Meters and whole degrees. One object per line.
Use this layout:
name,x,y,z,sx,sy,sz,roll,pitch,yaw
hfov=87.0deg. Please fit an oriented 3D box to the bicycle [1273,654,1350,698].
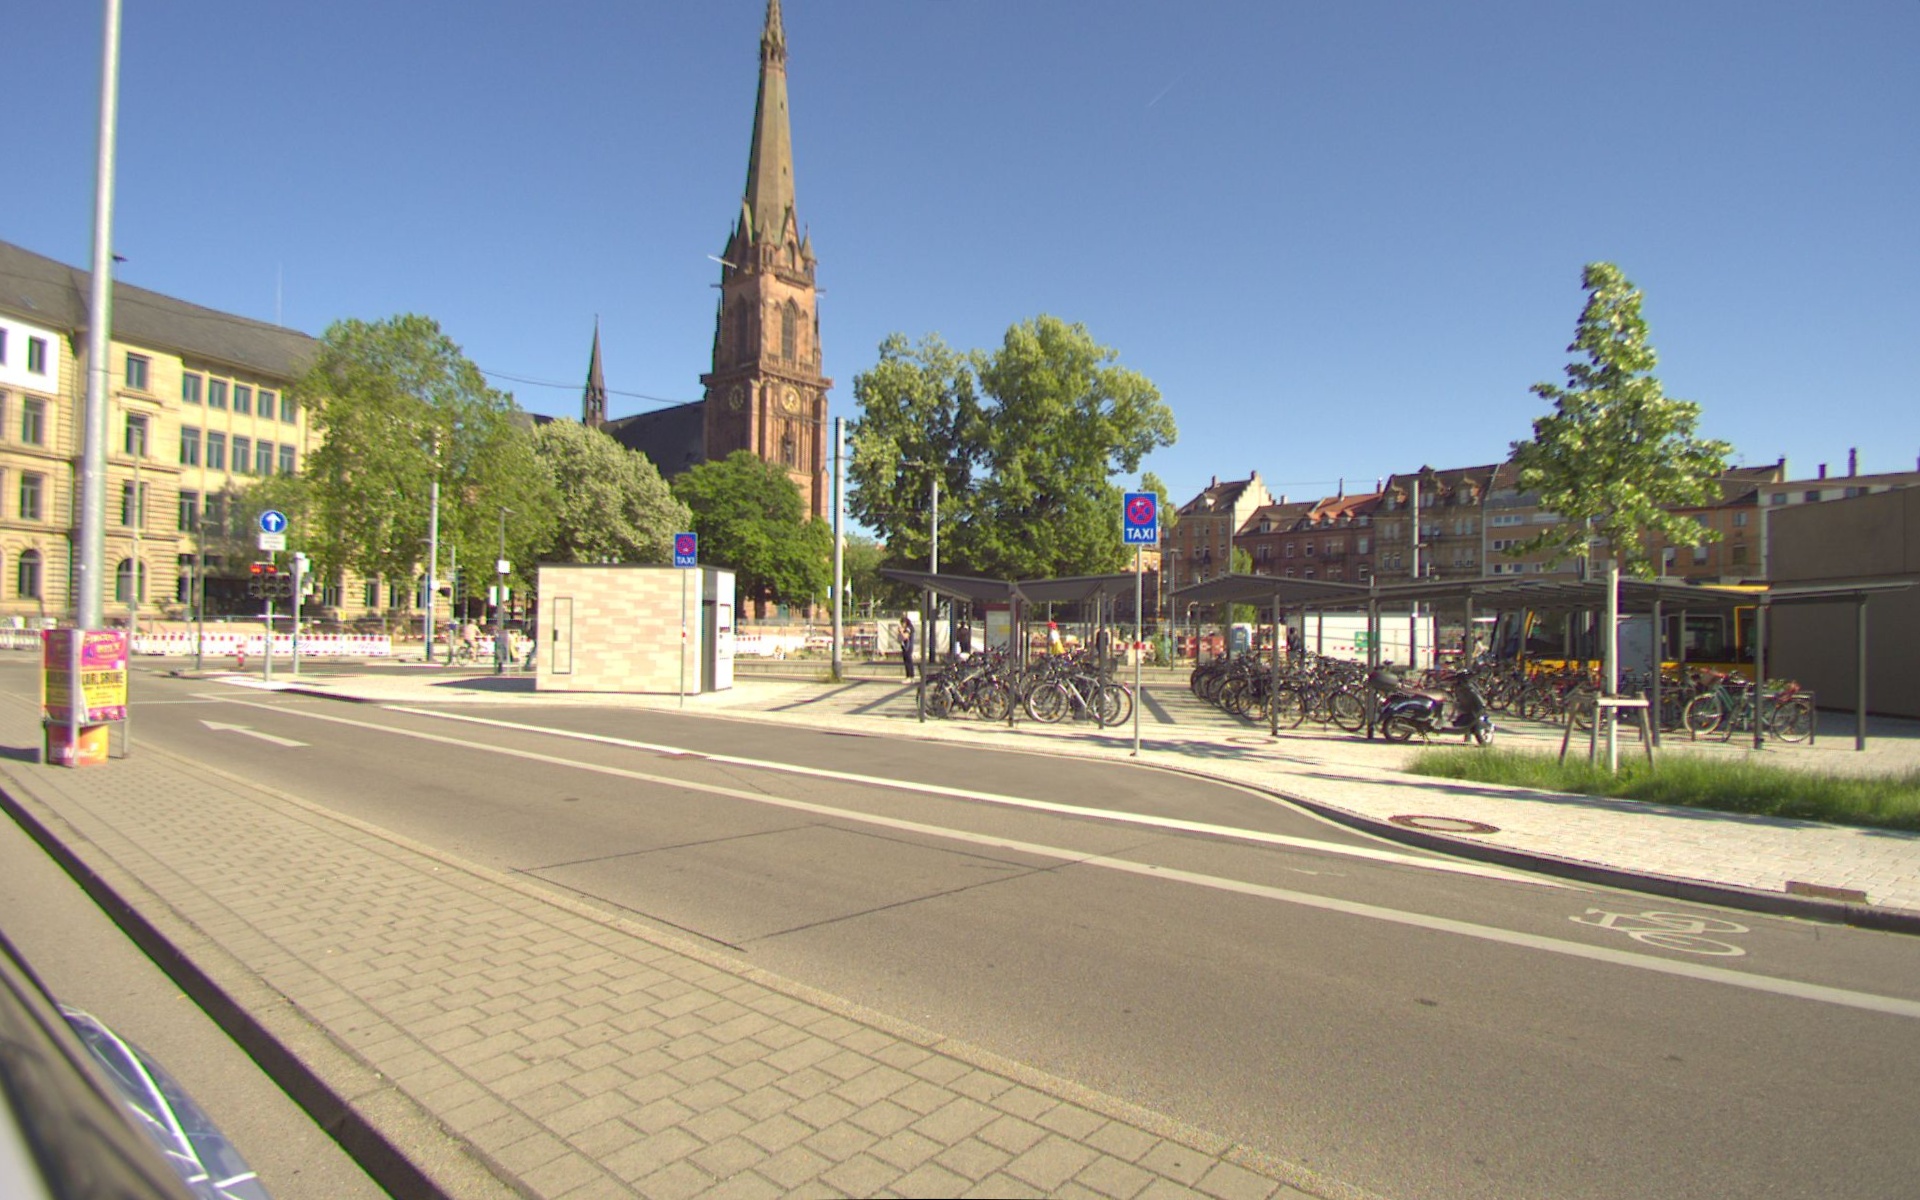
bicycle,8.294,1.790,23.919,1.661,0.980,0.406,-1,0,3

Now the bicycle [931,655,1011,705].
bicycle,0.232,1.680,21.409,1.663,1.006,0.406,0,0,8

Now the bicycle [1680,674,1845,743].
bicycle,12.770,1.719,16.142,2.048,1.045,0.533,-1,0,8

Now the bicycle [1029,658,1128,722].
bicycle,2.142,1.621,18.341,1.753,1.083,0.406,1,0,6

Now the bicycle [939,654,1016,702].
bicycle,0.387,1.709,22.289,1.663,1.006,0.406,0,0,8

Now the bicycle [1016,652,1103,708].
bicycle,2.055,1.647,20.977,1.755,1.083,0.406,1,0,6

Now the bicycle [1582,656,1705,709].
bicycle,14.081,1.701,20.881,2.048,1.045,0.533,-1,0,8

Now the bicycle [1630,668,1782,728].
bicycle,13.482,1.768,18.334,2.117,1.005,0.690,-1,0,7

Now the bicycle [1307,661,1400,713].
bicycle,7.860,1.735,20.233,1.661,0.980,0.406,-1,0,3

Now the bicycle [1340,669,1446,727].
bicycle,7.646,1.729,17.896,1.661,0.980,0.406,-1,0,3

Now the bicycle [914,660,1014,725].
bicycle,0.070,1.578,17.387,1.663,1.006,0.406,2,0,8

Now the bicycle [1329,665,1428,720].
bicycle,7.845,1.735,19.017,1.661,0.980,0.406,-1,0,3

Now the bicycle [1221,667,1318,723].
bicycle,5.731,1.754,18.772,1.661,0.980,0.406,-1,0,3

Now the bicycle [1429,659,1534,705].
bicycle,12.034,1.884,23.378,2.048,1.045,0.533,-1,-4,8

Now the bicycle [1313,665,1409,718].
bicycle,7.719,1.767,19.533,1.661,0.980,0.406,-1,0,3

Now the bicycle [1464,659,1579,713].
bicycle,11.779,1.800,21.269,2.048,1.045,0.533,-1,2,8

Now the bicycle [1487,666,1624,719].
bicycle,11.617,1.803,19.794,2.208,0.951,0.685,-1,0,7

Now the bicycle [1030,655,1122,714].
bicycle,2.238,1.625,19.587,1.755,1.083,0.406,1,0,6

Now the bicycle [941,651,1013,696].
bicycle,0.396,1.706,23.667,1.663,1.006,0.406,0,0,8

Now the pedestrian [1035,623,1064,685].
pedestrian,2.410,1.449,27.316,0.692,1.635,0.621,1,-2,-4

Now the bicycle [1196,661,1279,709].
bicycle,5.928,1.810,21.644,1.661,0.980,0.406,1,-5,3

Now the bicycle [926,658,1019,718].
bicycle,0.234,1.601,18.606,1.663,1.006,0.406,2,0,8

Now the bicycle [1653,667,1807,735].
bicycle,12.991,1.701,17.120,2.030,1.087,0.604,-1,0,7

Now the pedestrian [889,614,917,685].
pedestrian,-1.519,1.316,27.032,0.692,1.873,0.620,1,-2,-1

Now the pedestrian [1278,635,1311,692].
pedestrian,11.437,2.155,34.651,0.757,1.931,0.805,1,-2,-11

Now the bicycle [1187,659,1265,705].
bicycle,6.056,1.864,23.055,1.661,0.980,0.406,1,-5,3

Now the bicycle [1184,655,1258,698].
bicycle,6.259,1.841,24.316,1.661,0.980,0.406,1,-5,3

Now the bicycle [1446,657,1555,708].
bicycle,11.869,1.806,22.260,2.048,1.045,0.533,-1,2,8

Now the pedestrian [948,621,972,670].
pedestrian,-0.013,1.740,39.065,0.610,1.874,0.703,2,-2,-39

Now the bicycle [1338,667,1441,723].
bicycle,7.826,1.727,18.464,1.661,0.980,0.406,-1,0,3

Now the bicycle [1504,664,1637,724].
bicycle,11.325,1.738,18.816,2.048,1.045,0.533,-1,0,8

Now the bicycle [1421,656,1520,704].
bicycle,12.303,1.924,24.433,2.048,1.045,0.533,1,3,8

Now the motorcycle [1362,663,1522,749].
motorcycle,7.196,1.575,15.164,2.059,1.228,0.569,-1,-2,3

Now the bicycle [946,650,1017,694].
bicycle,0.520,1.706,24.192,1.663,1.006,0.406,0,0,8

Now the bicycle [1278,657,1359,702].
bicycle,8.076,1.793,22.842,1.661,0.980,0.406,-1,0,3

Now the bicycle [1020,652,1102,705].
bicycle,2.196,1.699,22.033,1.755,1.083,0.406,1,0,6

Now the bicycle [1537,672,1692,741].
bicycle,10.575,1.716,16.393,2.048,1.045,0.533,-1,0,8

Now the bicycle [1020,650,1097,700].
bicycle,2.275,1.736,23.503,1.755,1.083,0.406,1,0,6

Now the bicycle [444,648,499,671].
bicycle,-18.578,2.256,38.563,0.734,0.788,2.043,0,-2,14

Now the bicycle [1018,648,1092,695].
bicycle,2.317,1.728,24.682,1.755,1.083,0.406,1,0,6

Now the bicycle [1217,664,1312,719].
bicycle,5.817,1.742,19.380,1.661,0.980,0.406,1,0,3

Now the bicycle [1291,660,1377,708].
bicycle,7.991,1.794,21.627,1.661,0.980,0.406,-1,0,3

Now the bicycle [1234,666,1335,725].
bicycle,5.818,1.714,18.193,1.661,0.980,0.406,1,0,3

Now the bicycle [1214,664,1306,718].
bicycle,5.904,1.785,19.963,1.661,0.980,0.406,1,0,3

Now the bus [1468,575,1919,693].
bus,22.044,0.939,28.640,13.462,3.095,2.859,0,-2,6

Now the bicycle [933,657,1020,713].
bicycle,0.331,1.668,19.949,1.663,1.006,0.406,2,0,8

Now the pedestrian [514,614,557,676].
pedestrian,-12.417,1.311,29.621,0.987,1.756,0.631,2,-2,-42

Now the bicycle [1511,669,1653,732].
bicycle,10.833,1.744,17.664,2.048,1.045,0.533,-1,0,8

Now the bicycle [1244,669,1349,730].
bicycle,5.796,1.714,17.467,1.661,0.980,0.406,1,0,3

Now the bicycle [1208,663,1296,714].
bicycle,5.928,1.789,20.568,1.661,0.980,0.406,1,-5,3

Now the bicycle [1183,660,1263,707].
bicycle,5.789,1.842,22.301,1.661,0.980,0.406,1,-5,3

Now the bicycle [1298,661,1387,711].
bicycle,7.864,1.765,20.830,1.661,0.980,0.406,-1,0,3

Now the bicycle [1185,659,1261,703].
bicycle,6.140,1.886,23.628,1.661,0.980,0.406,1,-5,3

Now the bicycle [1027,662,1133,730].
bicycle,2.025,1.610,17.097,1.753,1.083,0.406,1,-3,6

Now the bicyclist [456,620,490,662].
bicyclist,-18.544,1.563,38.559,0.734,1.583,0.882,0,-2,15

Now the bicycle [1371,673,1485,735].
bicycle,7.770,1.728,16.826,1.661,0.980,0.406,-1,0,3

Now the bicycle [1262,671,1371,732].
bicycle,5.936,1.689,16.894,1.661,0.980,0.406,-1,0,3
